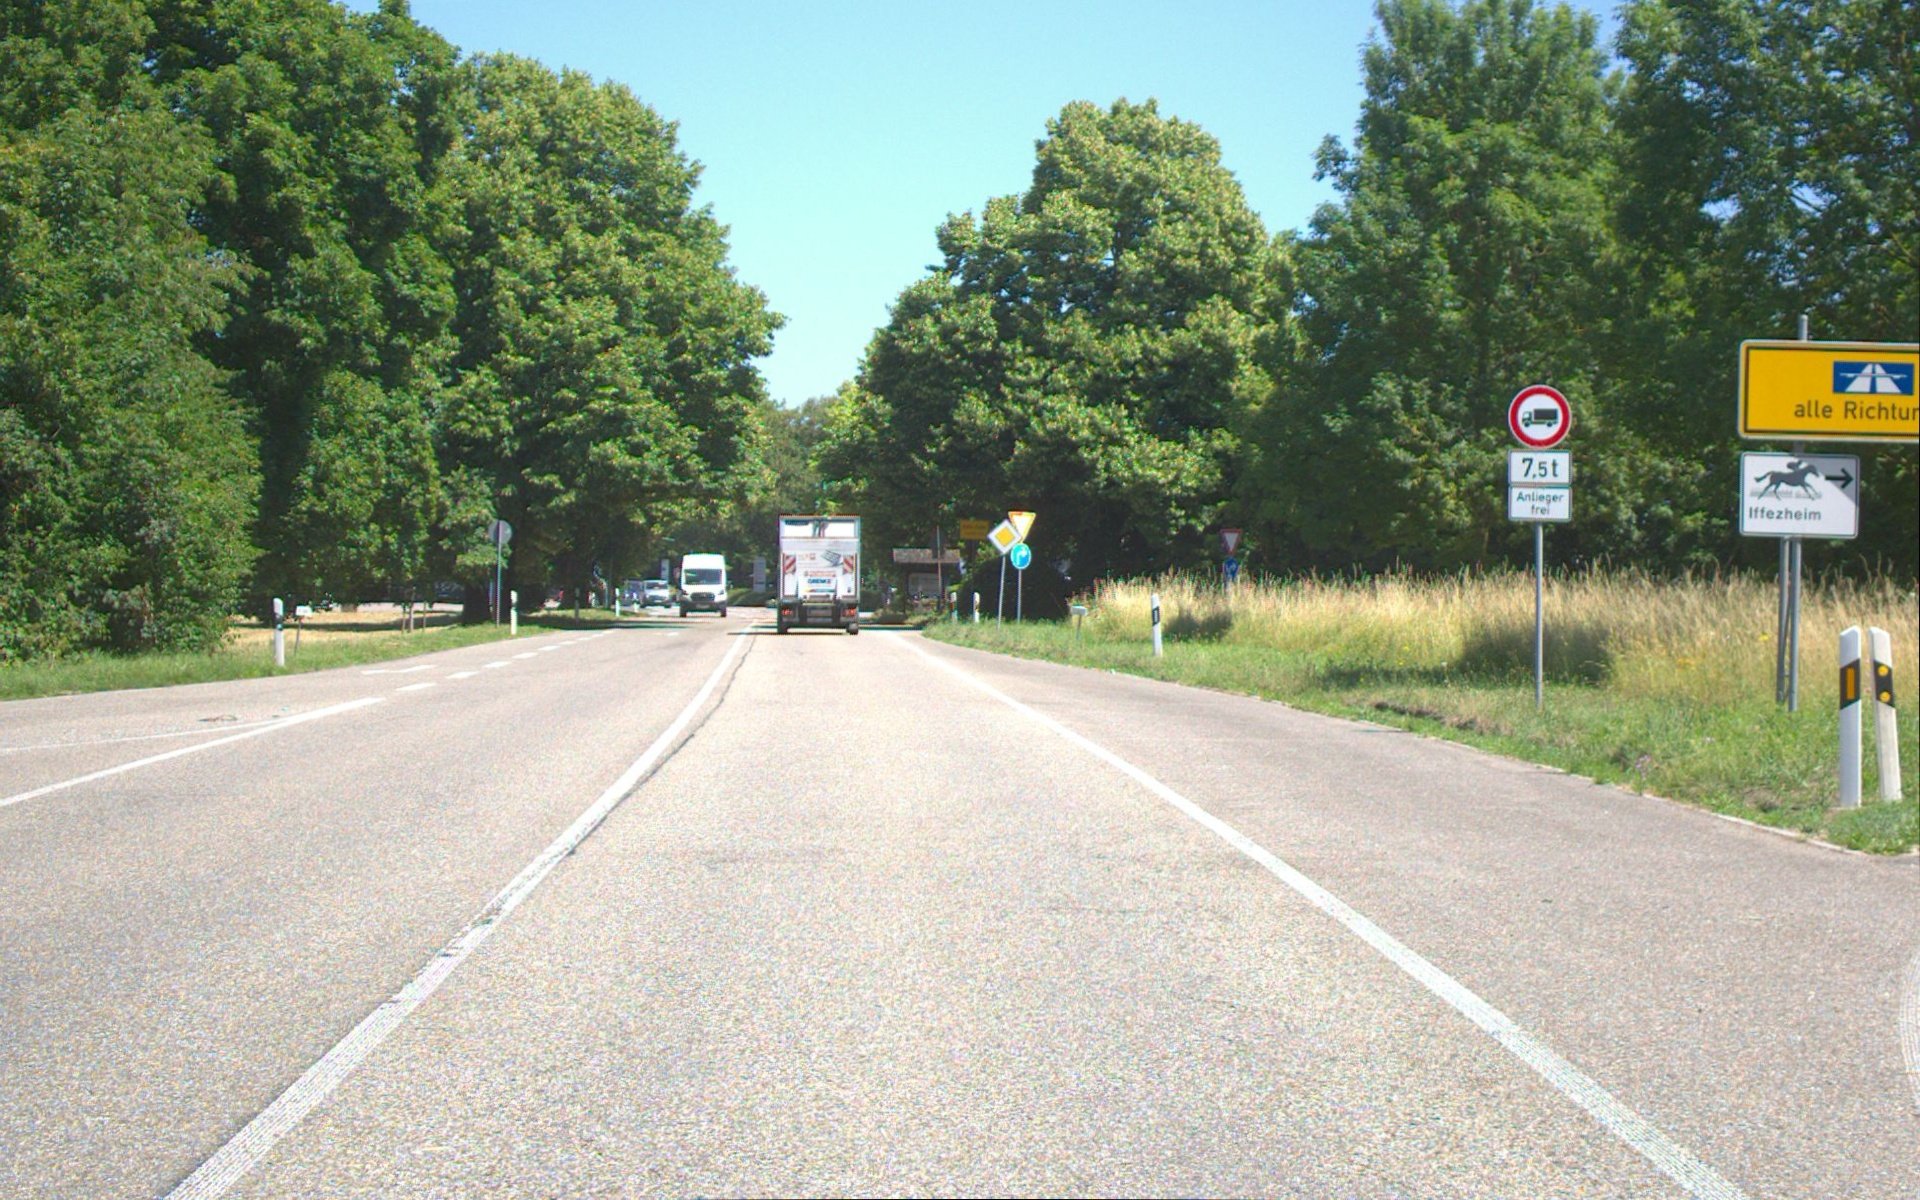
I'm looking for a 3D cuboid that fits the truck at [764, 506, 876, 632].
[{"bbox_3d":[-3.533,-0.807,87.929,2.534,3.124,5.361,0,1,1],"label":"truck"}]

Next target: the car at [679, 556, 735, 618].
[{"bbox_3d":[-10.933,-0.558,148.805,2.073,2.619,6.784,0,0,-1],"label":"car"}]
